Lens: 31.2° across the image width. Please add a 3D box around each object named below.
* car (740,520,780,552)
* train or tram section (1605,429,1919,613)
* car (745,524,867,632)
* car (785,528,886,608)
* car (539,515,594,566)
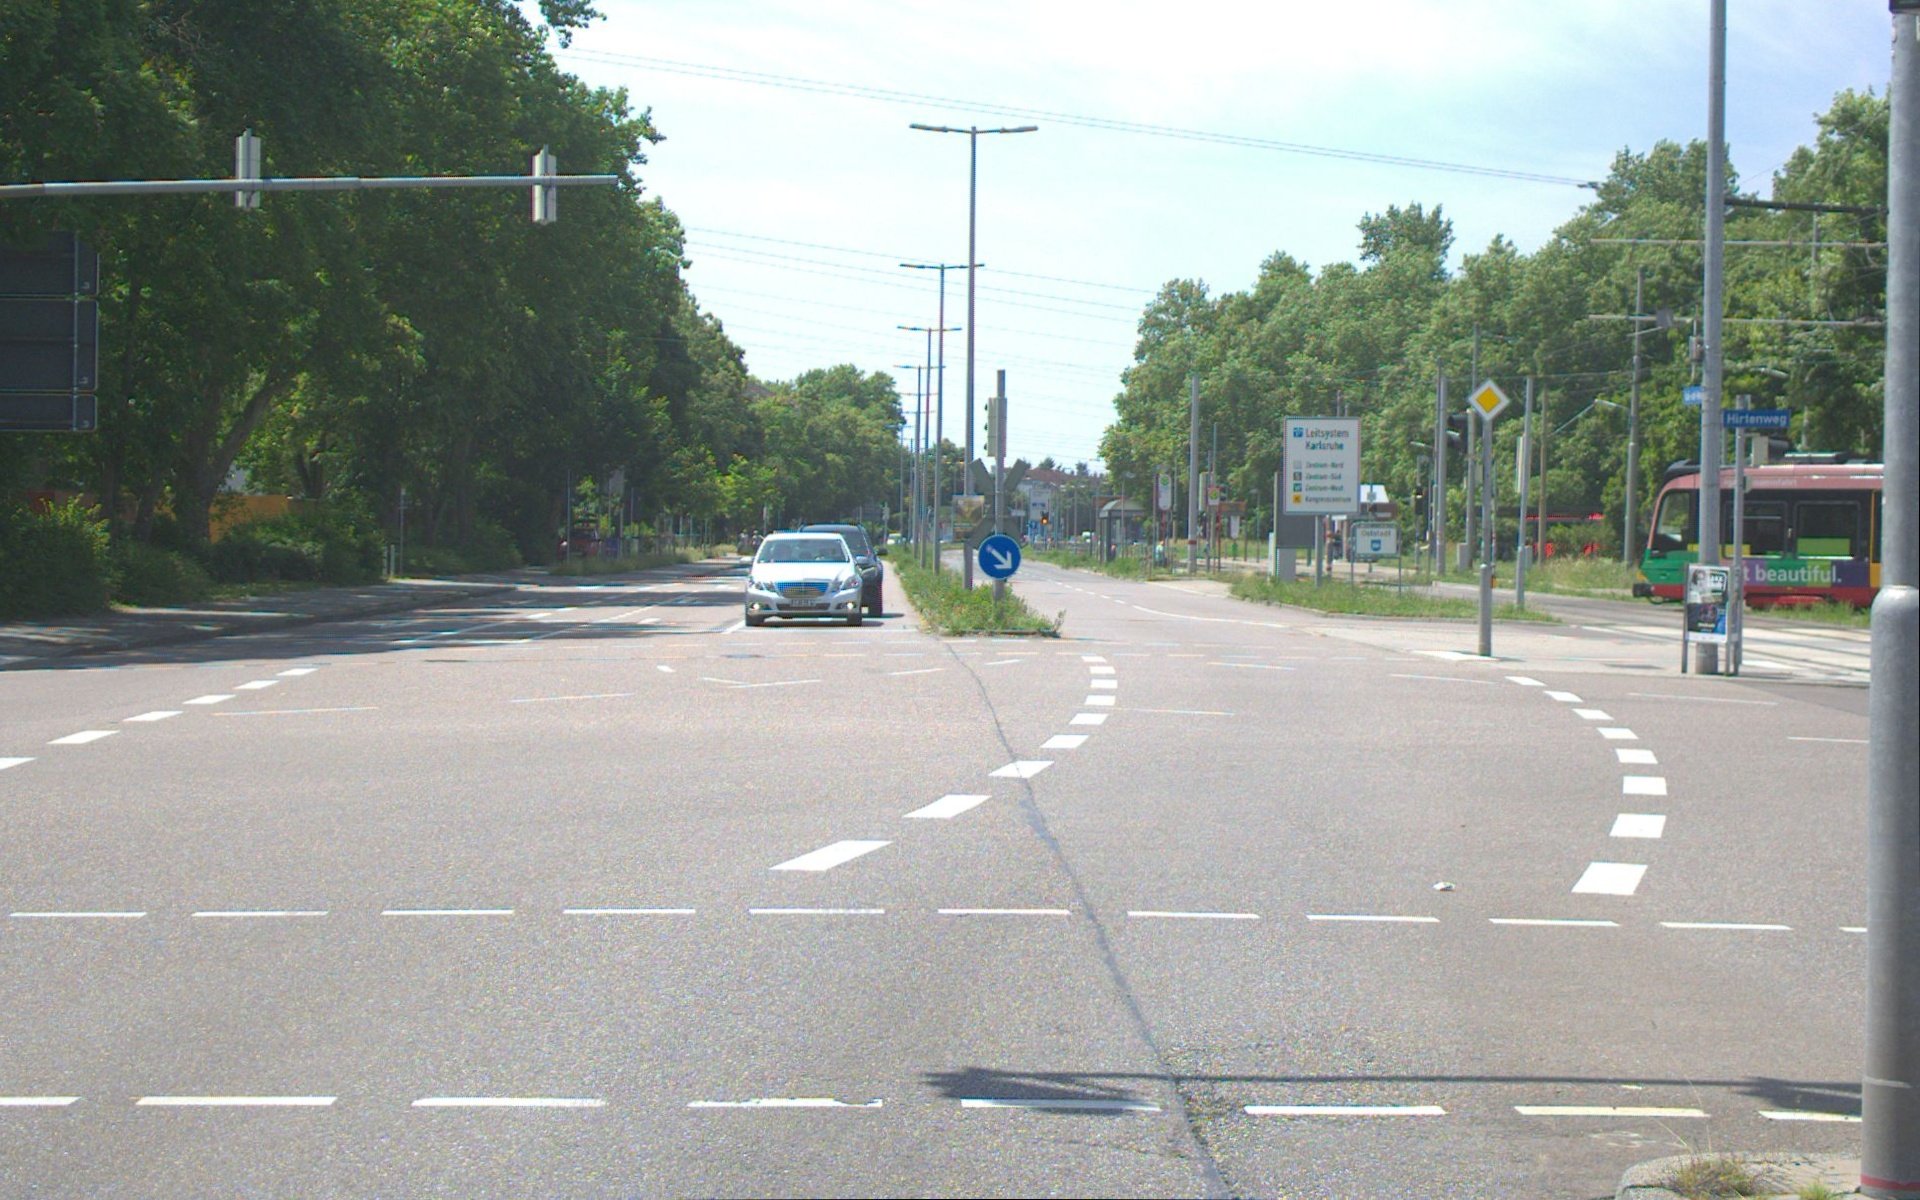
[{"bbox_3d":[-9.485,-3.046,163.303,1.671,1.485,3.711,1,1,-1],"label":"car"},{"bbox_3d":[20.505,-1.676,74.570,13.063,3.799,2.916,1,-2,41],"label":"train or tram section"},{"bbox_3d":[-2.414,-0.381,54.689,1.784,1.623,3.865,1,1,-1],"label":"car"},{"bbox_3d":[-2.217,-0.601,61.945,1.710,1.361,3.865,1,1,-1],"label":"car"},{"bbox_3d":[-16.589,-2.511,145.172,1.993,2.007,4.001,4,0,-4],"label":"car"}]
